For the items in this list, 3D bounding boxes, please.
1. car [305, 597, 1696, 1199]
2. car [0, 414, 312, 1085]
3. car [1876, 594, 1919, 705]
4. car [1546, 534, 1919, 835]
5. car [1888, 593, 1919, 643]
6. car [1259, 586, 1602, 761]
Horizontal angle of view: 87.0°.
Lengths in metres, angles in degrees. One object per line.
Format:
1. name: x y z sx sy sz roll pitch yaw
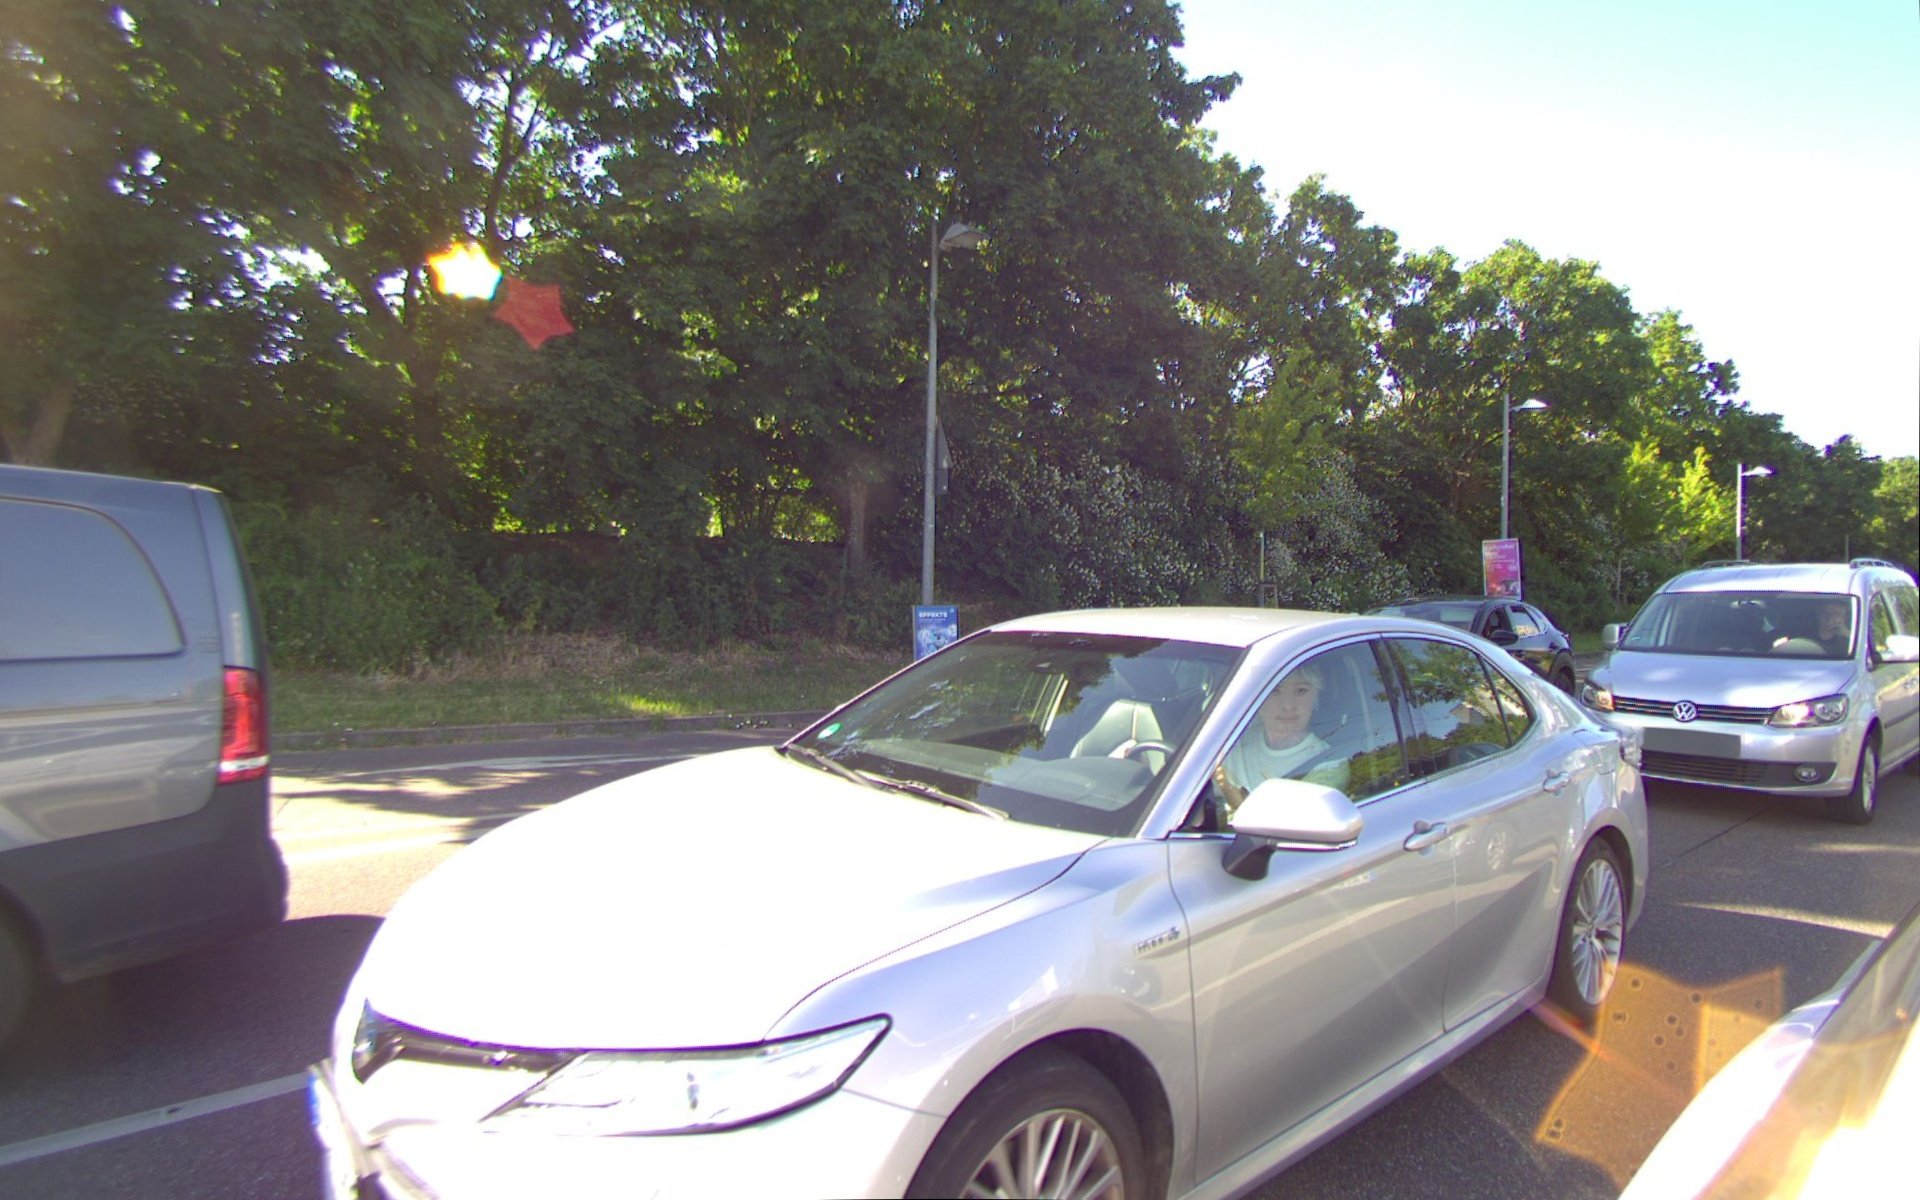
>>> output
1. car: 0.665 0.752 3.356 4.599 1.512 1.808 0 0 -40
2. car: -4.611 0.392 2.408 5.011 1.875 1.809 0 2 -39
3. car: 14.671 0.679 14.641 4.126 1.472 1.715 0 1 -43
4. car: 6.744 0.484 8.333 4.504 1.844 1.809 -1 1 -39
5. car: 30.861 0.543 32.060 3.894 1.512 1.713 0 1 -40
6. car: 5.187 0.624 10.922 4.151 1.527 1.771 -1 0 -40
